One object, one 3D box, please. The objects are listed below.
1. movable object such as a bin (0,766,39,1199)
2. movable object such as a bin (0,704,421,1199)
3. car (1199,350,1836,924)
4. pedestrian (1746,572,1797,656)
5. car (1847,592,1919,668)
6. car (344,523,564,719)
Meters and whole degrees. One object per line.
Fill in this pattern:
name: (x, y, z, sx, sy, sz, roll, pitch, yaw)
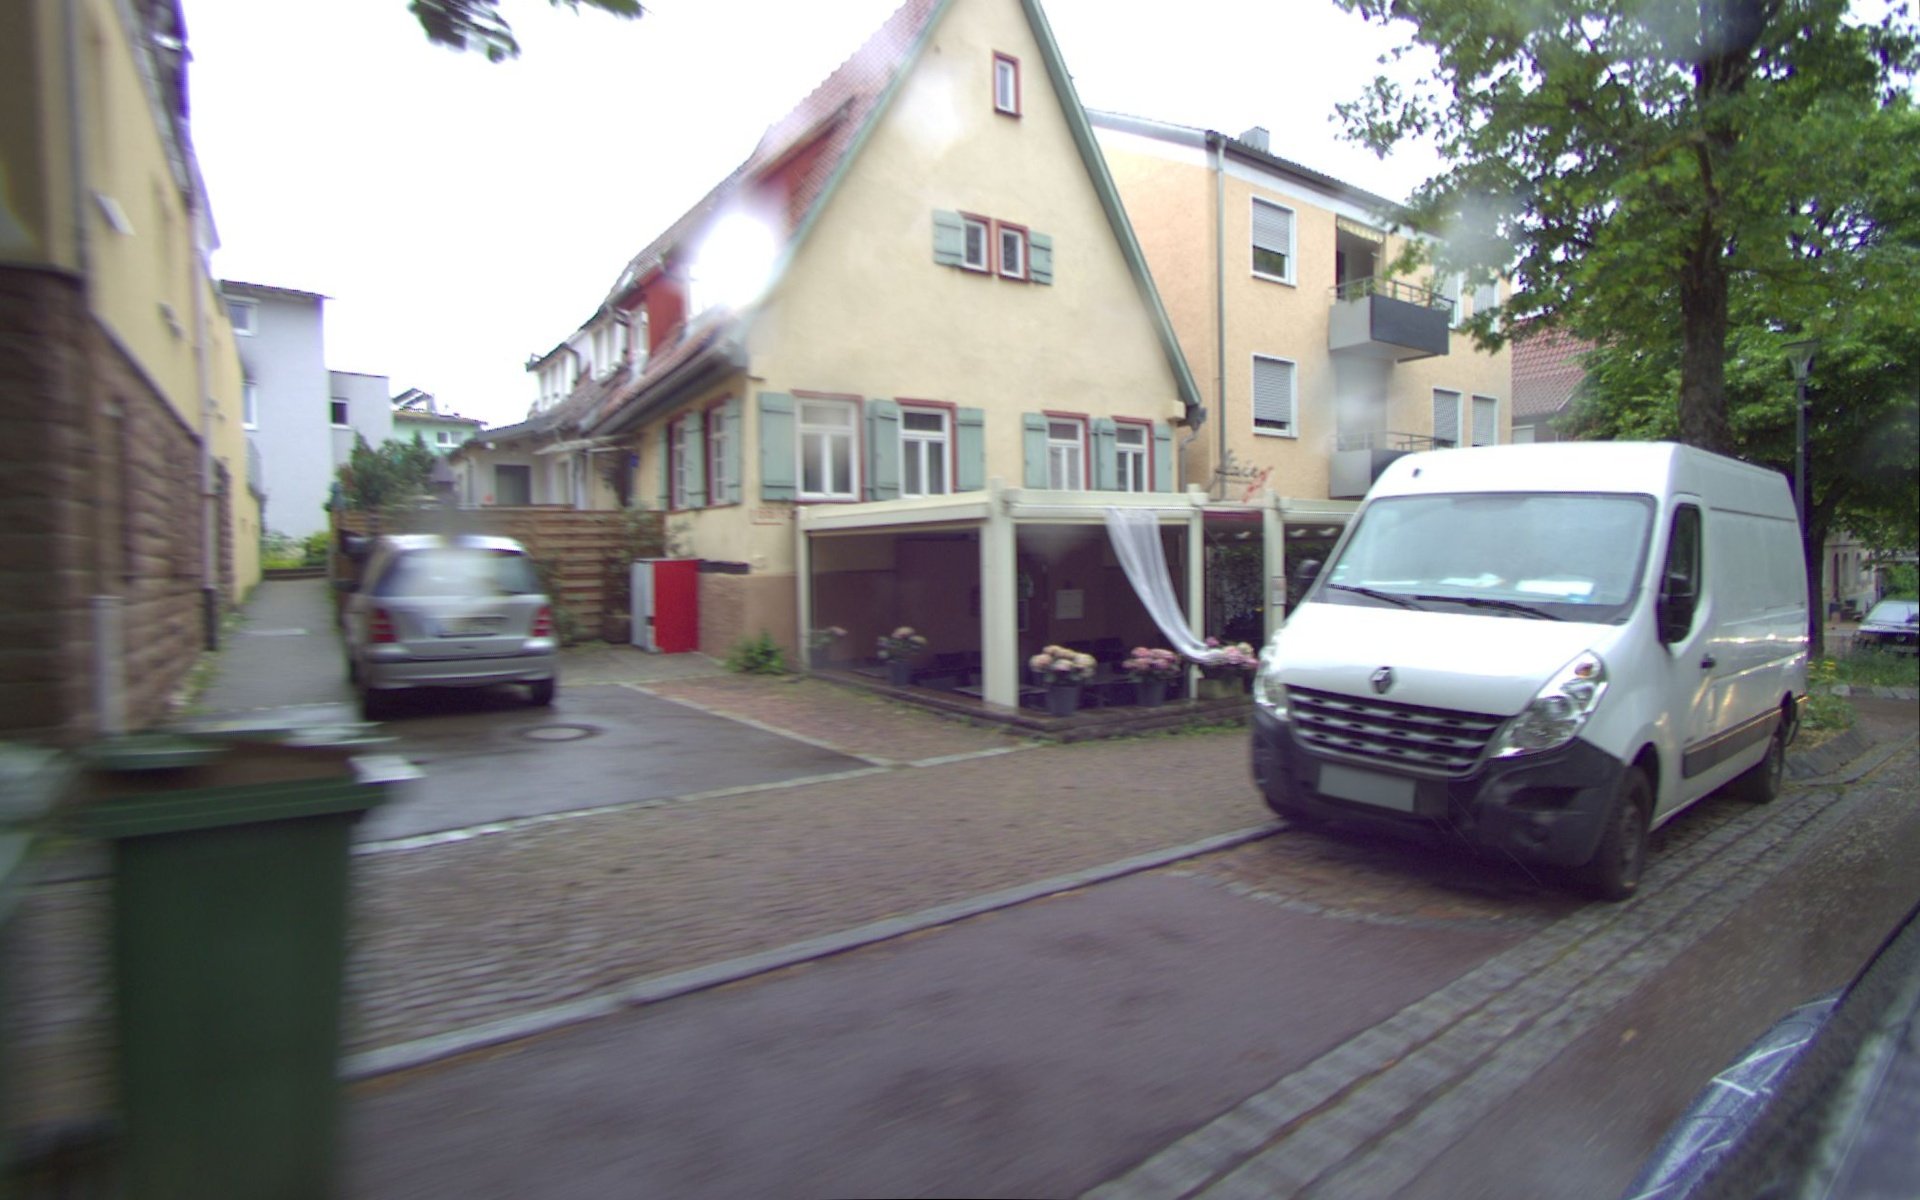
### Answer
movable object such as a bin: (-1.769, 0.859, 1.280, 0.863, 1.088, 0.799, 0, 1, -41)
movable object such as a bin: (-1.771, 0.844, 2.261, 0.863, 1.088, 0.749, 0, 1, -41)
car: (4.131, 0.125, 6.969, 5.340, 2.491, 2.145, 0, 1, -41)
pedestrian: (17.304, 0.281, 21.593, 0.763, 1.753, 0.487, 1, 0, 33)
car: (19.375, 0.564, 20.377, 3.717, 1.428, 1.811, 0, 1, -41)
car: (-5.182, 0.069, 10.168, 1.629, 1.615, 3.299, -1, 4, -33)
